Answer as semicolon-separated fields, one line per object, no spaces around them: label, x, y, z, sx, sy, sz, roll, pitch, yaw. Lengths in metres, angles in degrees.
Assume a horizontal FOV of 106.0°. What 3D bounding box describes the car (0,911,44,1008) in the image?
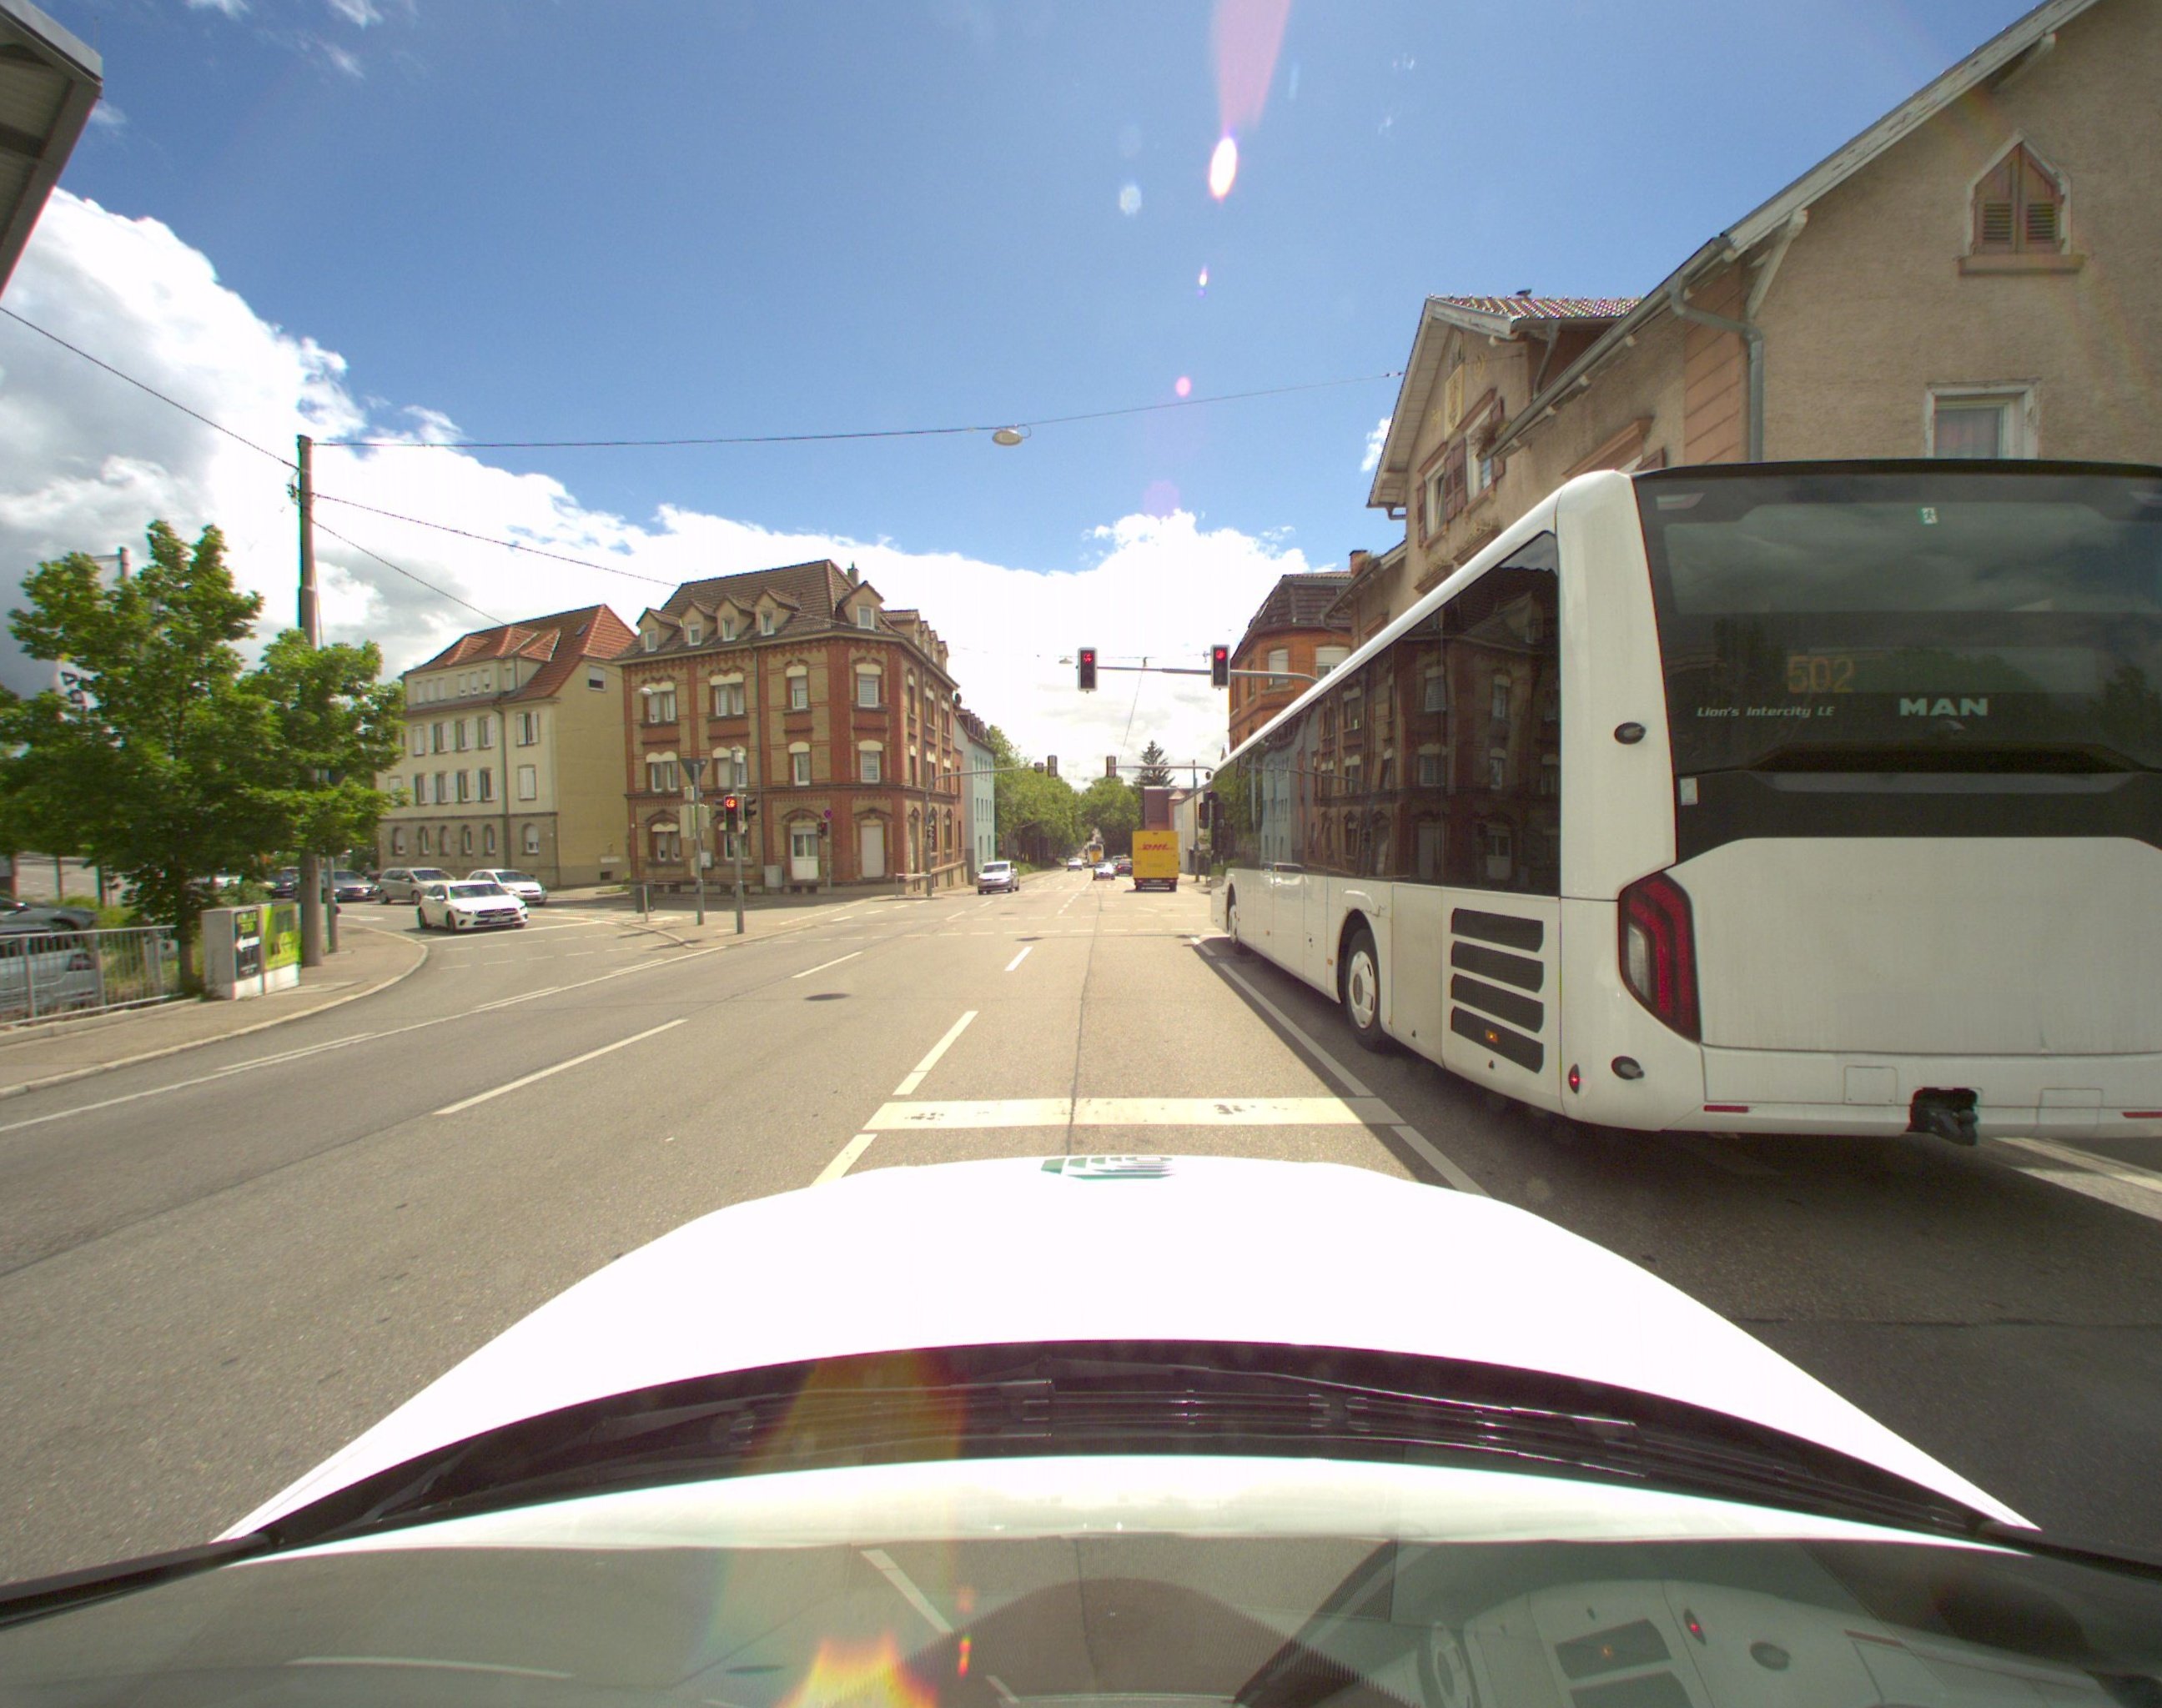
car;-19.711;1.832;14.152;3.744;1.523;1.526;-1;0;30

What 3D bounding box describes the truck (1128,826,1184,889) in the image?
truck;3.677;0.197;41.079;2.530;2.913;6.577;0;-1;3

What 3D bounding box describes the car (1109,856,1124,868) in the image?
car;5.616;1.253;129.683;2.086;1.830;4.140;-1;0;-1

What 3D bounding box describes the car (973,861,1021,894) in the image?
car;-4.414;1.209;43.571;1.928;1.563;4.390;-2;0;2

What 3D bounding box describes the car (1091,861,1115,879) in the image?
car;1.768;1.250;65.438;1.858;1.367;4.549;-2;0;2

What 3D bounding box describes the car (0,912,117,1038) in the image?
car;-16.115;1.740;12.182;3.638;1.575;1.766;-1;-2;34

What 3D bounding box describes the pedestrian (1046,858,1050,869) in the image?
pedestrian;-5.533;1.630;136.661;0.604;1.758;0.653;-2;0;0

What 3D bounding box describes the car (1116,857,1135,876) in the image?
car;4.384;1.241;80.955;1.812;1.784;4.002;-2;0;2

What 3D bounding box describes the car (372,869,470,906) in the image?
car;-29.207;1.469;36.047;3.951;1.519;1.757;-1;0;24

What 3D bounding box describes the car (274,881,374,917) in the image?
car;-35.451;2.078;38.140;3.951;1.519;2.011;-1;0;24

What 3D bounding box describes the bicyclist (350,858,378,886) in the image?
bicyclist;-39.942;1.008;45.372;1.065;1.499;0.592;-2;0;10

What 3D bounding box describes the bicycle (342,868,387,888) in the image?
bicycle;-39.907;1.337;45.363;2.172;1.019;0.608;-2;0;9

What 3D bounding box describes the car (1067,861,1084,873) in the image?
car;-0.768;1.801;112.793;2.199;1.613;4.549;-2;0;2

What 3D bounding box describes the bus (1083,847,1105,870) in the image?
bus;2.037;0.717;132.701;3.290;3.631;11.243;-2;0;0

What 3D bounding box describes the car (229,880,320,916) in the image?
car;-39.794;2.128;40.170;4.291;1.586;2.012;-1;0;29

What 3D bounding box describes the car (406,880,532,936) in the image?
car;-18.244;1.541;24.215;4.334;1.447;1.875;-2;0;37

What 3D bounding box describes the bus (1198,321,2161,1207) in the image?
bus;3.532;-0.315;9.482;2.893;3.510;12.492;0;0;2

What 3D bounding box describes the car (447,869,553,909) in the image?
car;-23.598;1.391;33.061;3.951;1.497;1.711;-1;0;24

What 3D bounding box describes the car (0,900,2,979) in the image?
car;-23.403;1.735;16.431;3.371;1.575;1.526;-1;0;30

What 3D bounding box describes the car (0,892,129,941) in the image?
car;-29.252;1.730;22.213;1.795;1.186;4.025;-1;0;31

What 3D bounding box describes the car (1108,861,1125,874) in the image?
car;4.122;1.585;94.492;1.858;1.367;4.549;-2;0;2

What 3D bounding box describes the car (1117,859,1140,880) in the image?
car;4.684;1.528;81.037;1.987;2.013;3.999;-2;0;0
